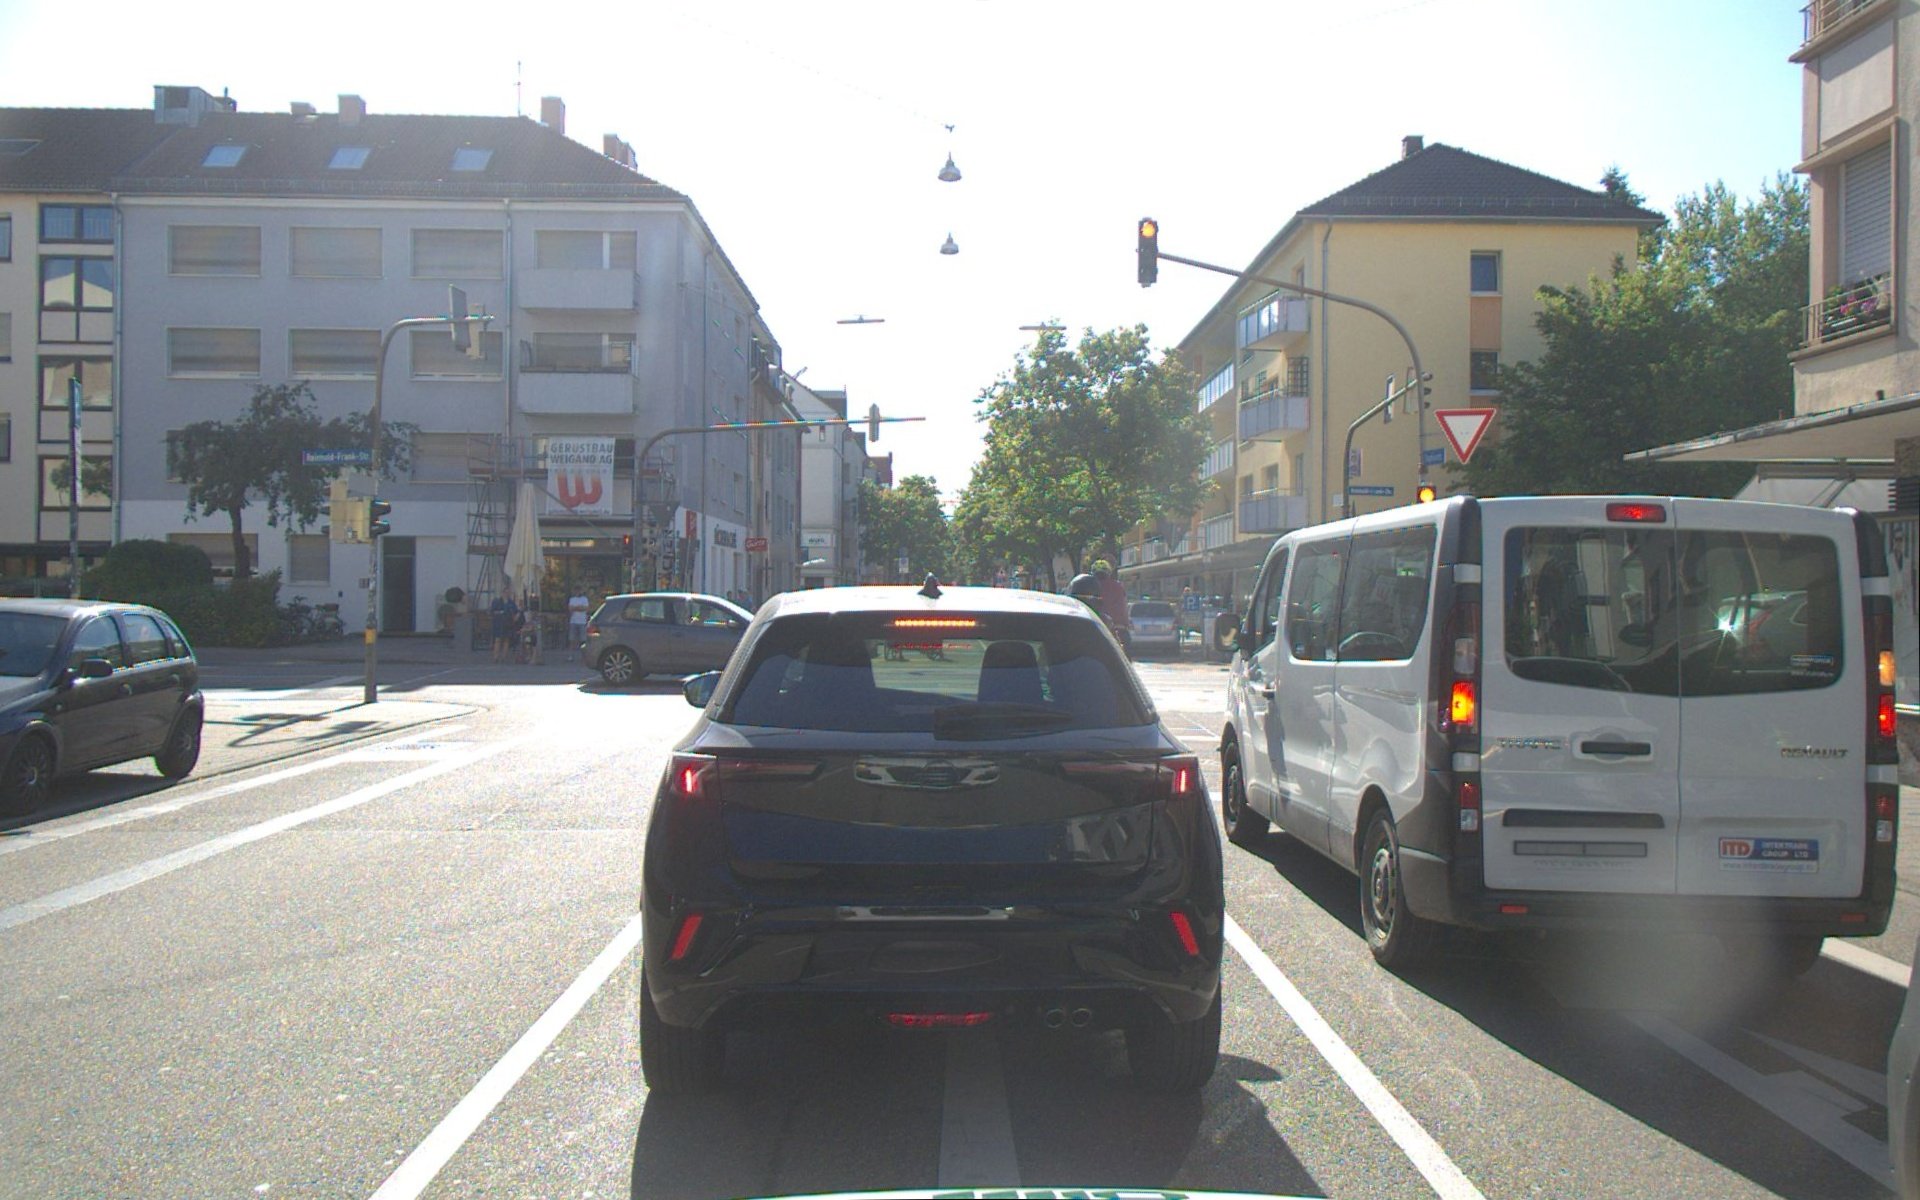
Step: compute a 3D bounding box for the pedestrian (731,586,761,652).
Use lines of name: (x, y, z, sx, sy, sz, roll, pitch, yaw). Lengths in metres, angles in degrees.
pedestrian: (-5.641, 0.499, 43.623, 0.692, 1.707, 0.802, 0, 0, -3)

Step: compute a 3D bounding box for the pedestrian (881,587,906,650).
pedestrian: (-1.758, 0.486, 43.722, 0.666, 1.634, 0.762, 0, 0, -3)

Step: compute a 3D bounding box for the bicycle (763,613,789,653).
bicycle: (-4.867, 0.865, 43.857, 0.511, 1.010, 2.338, 0, 0, -3)

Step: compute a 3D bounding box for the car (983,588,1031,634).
car: (1.862, 0.417, 66.435, 1.863, 1.758, 4.073, 0, 0, 1)

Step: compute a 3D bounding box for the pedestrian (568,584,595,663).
pedestrian: (-8.675, 0.538, 37.935, 0.550, 1.806, 0.582, 1, 0, -9)

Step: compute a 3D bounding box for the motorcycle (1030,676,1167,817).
motorcycle: (0.984, 1.039, 12.178, 0.808, 0.860, 1.884, 0, 0, -1)

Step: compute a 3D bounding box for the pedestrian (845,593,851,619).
pedestrian: (-7.354, 0.397, 108.497, 0.394, 1.704, 0.417, 0, 0, -1)

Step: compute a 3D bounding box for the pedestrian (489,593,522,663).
pedestrian: (-10.261, 0.625, 37.358, 0.573, 1.547, 0.649, 0, 0, -4)

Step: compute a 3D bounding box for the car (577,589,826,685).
car: (-4.289, 0.602, 27.881, 3.906, 1.512, 1.833, -1, 0, -1)

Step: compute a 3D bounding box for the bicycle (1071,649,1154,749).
bicycle: (1.600, 1.021, 17.655, 0.565, 0.920, 2.300, 0, 0, -3)

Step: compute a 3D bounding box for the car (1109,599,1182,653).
car: (5.253, 0.703, 47.305, 1.601, 1.458, 3.956, 0, 0, -1)

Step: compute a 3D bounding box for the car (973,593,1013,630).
car: (1.600, 0.531, 81.021, 1.863, 1.758, 4.000, 0, 0, 0)

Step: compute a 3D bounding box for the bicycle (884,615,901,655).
bicycle: (-1.791, 0.922, 43.746, 0.434, 1.010, 2.068, 0, 0, -3)

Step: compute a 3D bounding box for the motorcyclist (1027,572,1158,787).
motorcyclist: (0.970, 0.565, 12.354, 0.846, 1.528, 1.159, 0, 0, -2)

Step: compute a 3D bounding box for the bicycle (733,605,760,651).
bicycle: (-5.662, 0.721, 43.877, 0.511, 1.167, 2.282, 0, 0, -3)

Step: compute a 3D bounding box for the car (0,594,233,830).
car: (-7.082, 0.731, 12.437, 1.584, 1.450, 3.709, 3, 0, -1)

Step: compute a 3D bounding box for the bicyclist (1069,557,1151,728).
bicyclist: (1.572, 0.432, 17.539, 0.675, 1.742, 1.413, 0, 0, -3)

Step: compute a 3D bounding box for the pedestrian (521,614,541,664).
pedestrian: (-9.662, 0.873, 37.263, 0.348, 1.111, 0.461, 0, 0, -4)

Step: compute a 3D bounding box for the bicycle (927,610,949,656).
bicycle: (-0.601, 0.851, 43.766, 0.511, 1.167, 2.169, 0, 0, -3)

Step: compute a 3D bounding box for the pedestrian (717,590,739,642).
pedestrian: (-7.023, 0.478, 50.146, 0.605, 1.547, 0.724, 0, 0, -4)

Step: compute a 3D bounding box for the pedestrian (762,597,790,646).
pedestrian: (-4.829, 0.566, 43.424, 0.692, 1.275, 0.802, 0, 0, -3)

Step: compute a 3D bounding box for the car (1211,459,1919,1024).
car: (2.715, 0.514, 8.486, 1.953, 2.014, 4.894, 2, 0, -2)

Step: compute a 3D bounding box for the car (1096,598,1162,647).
car: (5.272, 0.690, 52.023, 1.601, 1.458, 3.999, 0, 0, -1)

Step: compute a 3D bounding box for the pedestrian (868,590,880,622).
pedestrian: (-4.615, 0.308, 88.482, 0.558, 1.719, 0.588, 0, 0, 5)

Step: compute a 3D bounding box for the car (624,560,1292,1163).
car: (-0.083, 0.674, 6.316, 1.735, 1.557, 3.998, 0, 0, -3)

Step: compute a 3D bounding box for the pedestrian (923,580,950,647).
pedestrian: (-0.620, 0.351, 43.602, 0.692, 1.731, 0.802, 0, 0, -3)

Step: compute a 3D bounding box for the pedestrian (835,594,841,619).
pedestrian: (-8.054, 0.428, 108.955, 0.394, 1.704, 0.417, 0, 0, -1)

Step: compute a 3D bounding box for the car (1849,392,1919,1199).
car: (3.016, 0.532, 1.243, 1.800, 1.901, 4.993, 0, 0, -3)

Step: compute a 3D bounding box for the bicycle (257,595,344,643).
bicycle: (-16.947, 0.480, 42.509, 2.067, 1.193, 0.735, 0, 0, -25)
